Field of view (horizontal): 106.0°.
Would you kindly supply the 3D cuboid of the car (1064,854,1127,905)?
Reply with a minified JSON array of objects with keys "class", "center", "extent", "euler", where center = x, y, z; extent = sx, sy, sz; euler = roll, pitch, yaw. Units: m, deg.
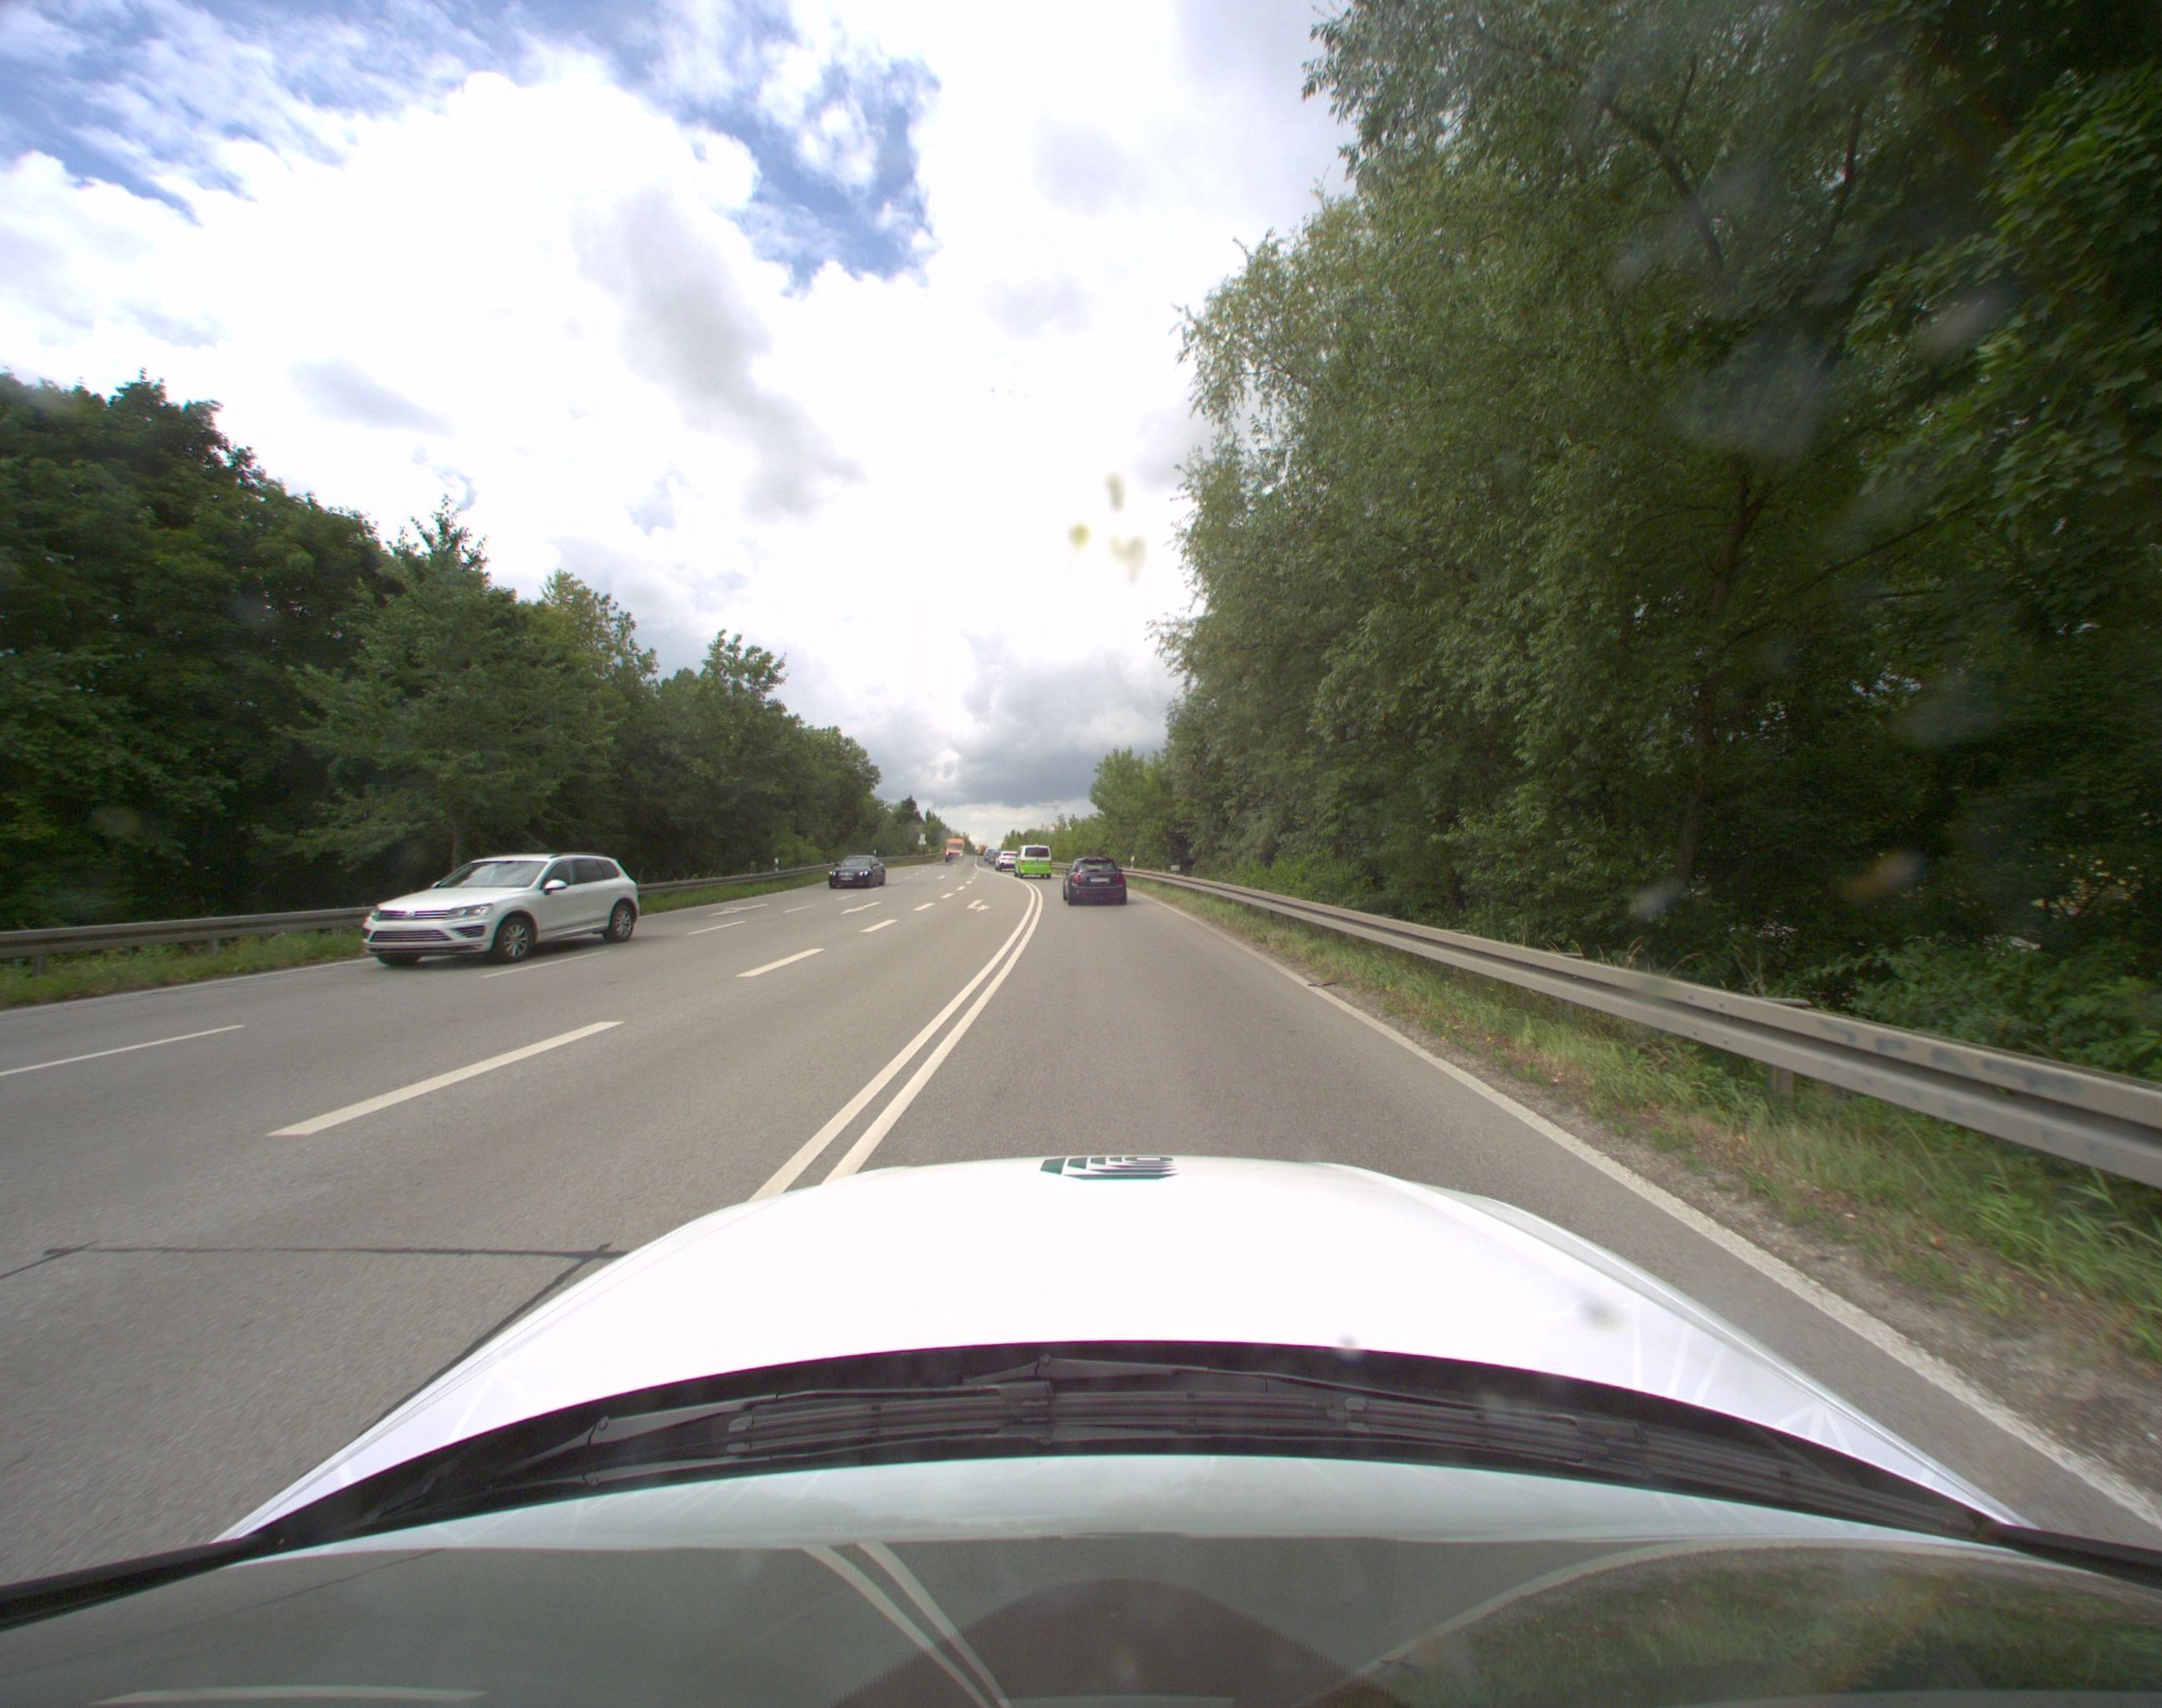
[{"class":"car","center":[0.388,0.718,25.401],"extent":[1.728,1.456,3.996],"euler":[0,0,-3]}]

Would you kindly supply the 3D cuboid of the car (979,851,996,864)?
[{"class":"car","center":[-11.732,0.438,102.437],"extent":[1.877,1.618,3.993],"euler":[-1,0,-5]}]

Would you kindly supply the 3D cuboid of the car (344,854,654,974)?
[{"class":"car","center":[-9.549,0.858,13.999],"extent":[1.851,1.643,4.737],"euler":[-1,0,1]}]

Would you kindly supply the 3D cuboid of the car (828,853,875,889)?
[{"class":"car","center":[-10.608,0.733,37.872],"extent":[1.718,1.498,4.530],"euler":[-1,1,-11]}]

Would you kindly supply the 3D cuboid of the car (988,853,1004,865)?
[{"class":"car","center":[-9.171,0.487,87.942],"extent":[1.692,1.222,3.993],"euler":[-1,0,-5]}]

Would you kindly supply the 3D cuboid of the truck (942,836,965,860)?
[{"class":"truck","center":[-14.149,-0.668,90.876],"extent":[2.313,2.601,6.010],"euler":[0,1,-7]}]

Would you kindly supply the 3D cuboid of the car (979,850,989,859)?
[{"class":"car","center":[-19.188,0.169,161.302],"extent":[1.992,1.798,3.990],"euler":[0,0,-7]}]

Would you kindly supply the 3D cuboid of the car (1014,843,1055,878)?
[{"class":"car","center":[-2.830,0.366,48.689],"extent":[2.022,2.013,3.986],"euler":[-1,0,-10]}]

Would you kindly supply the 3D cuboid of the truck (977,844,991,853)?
[{"class":"truck","center":[-25.400,-1.389,213.612],"extent":[2.904,2.372,10.439],"euler":[0,0,-3]}]

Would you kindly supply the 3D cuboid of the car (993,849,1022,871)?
[{"class":"car","center":[-5.763,0.431,63.441],"extent":[1.987,1.618,4.142],"euler":[-1,1,-8]}]
